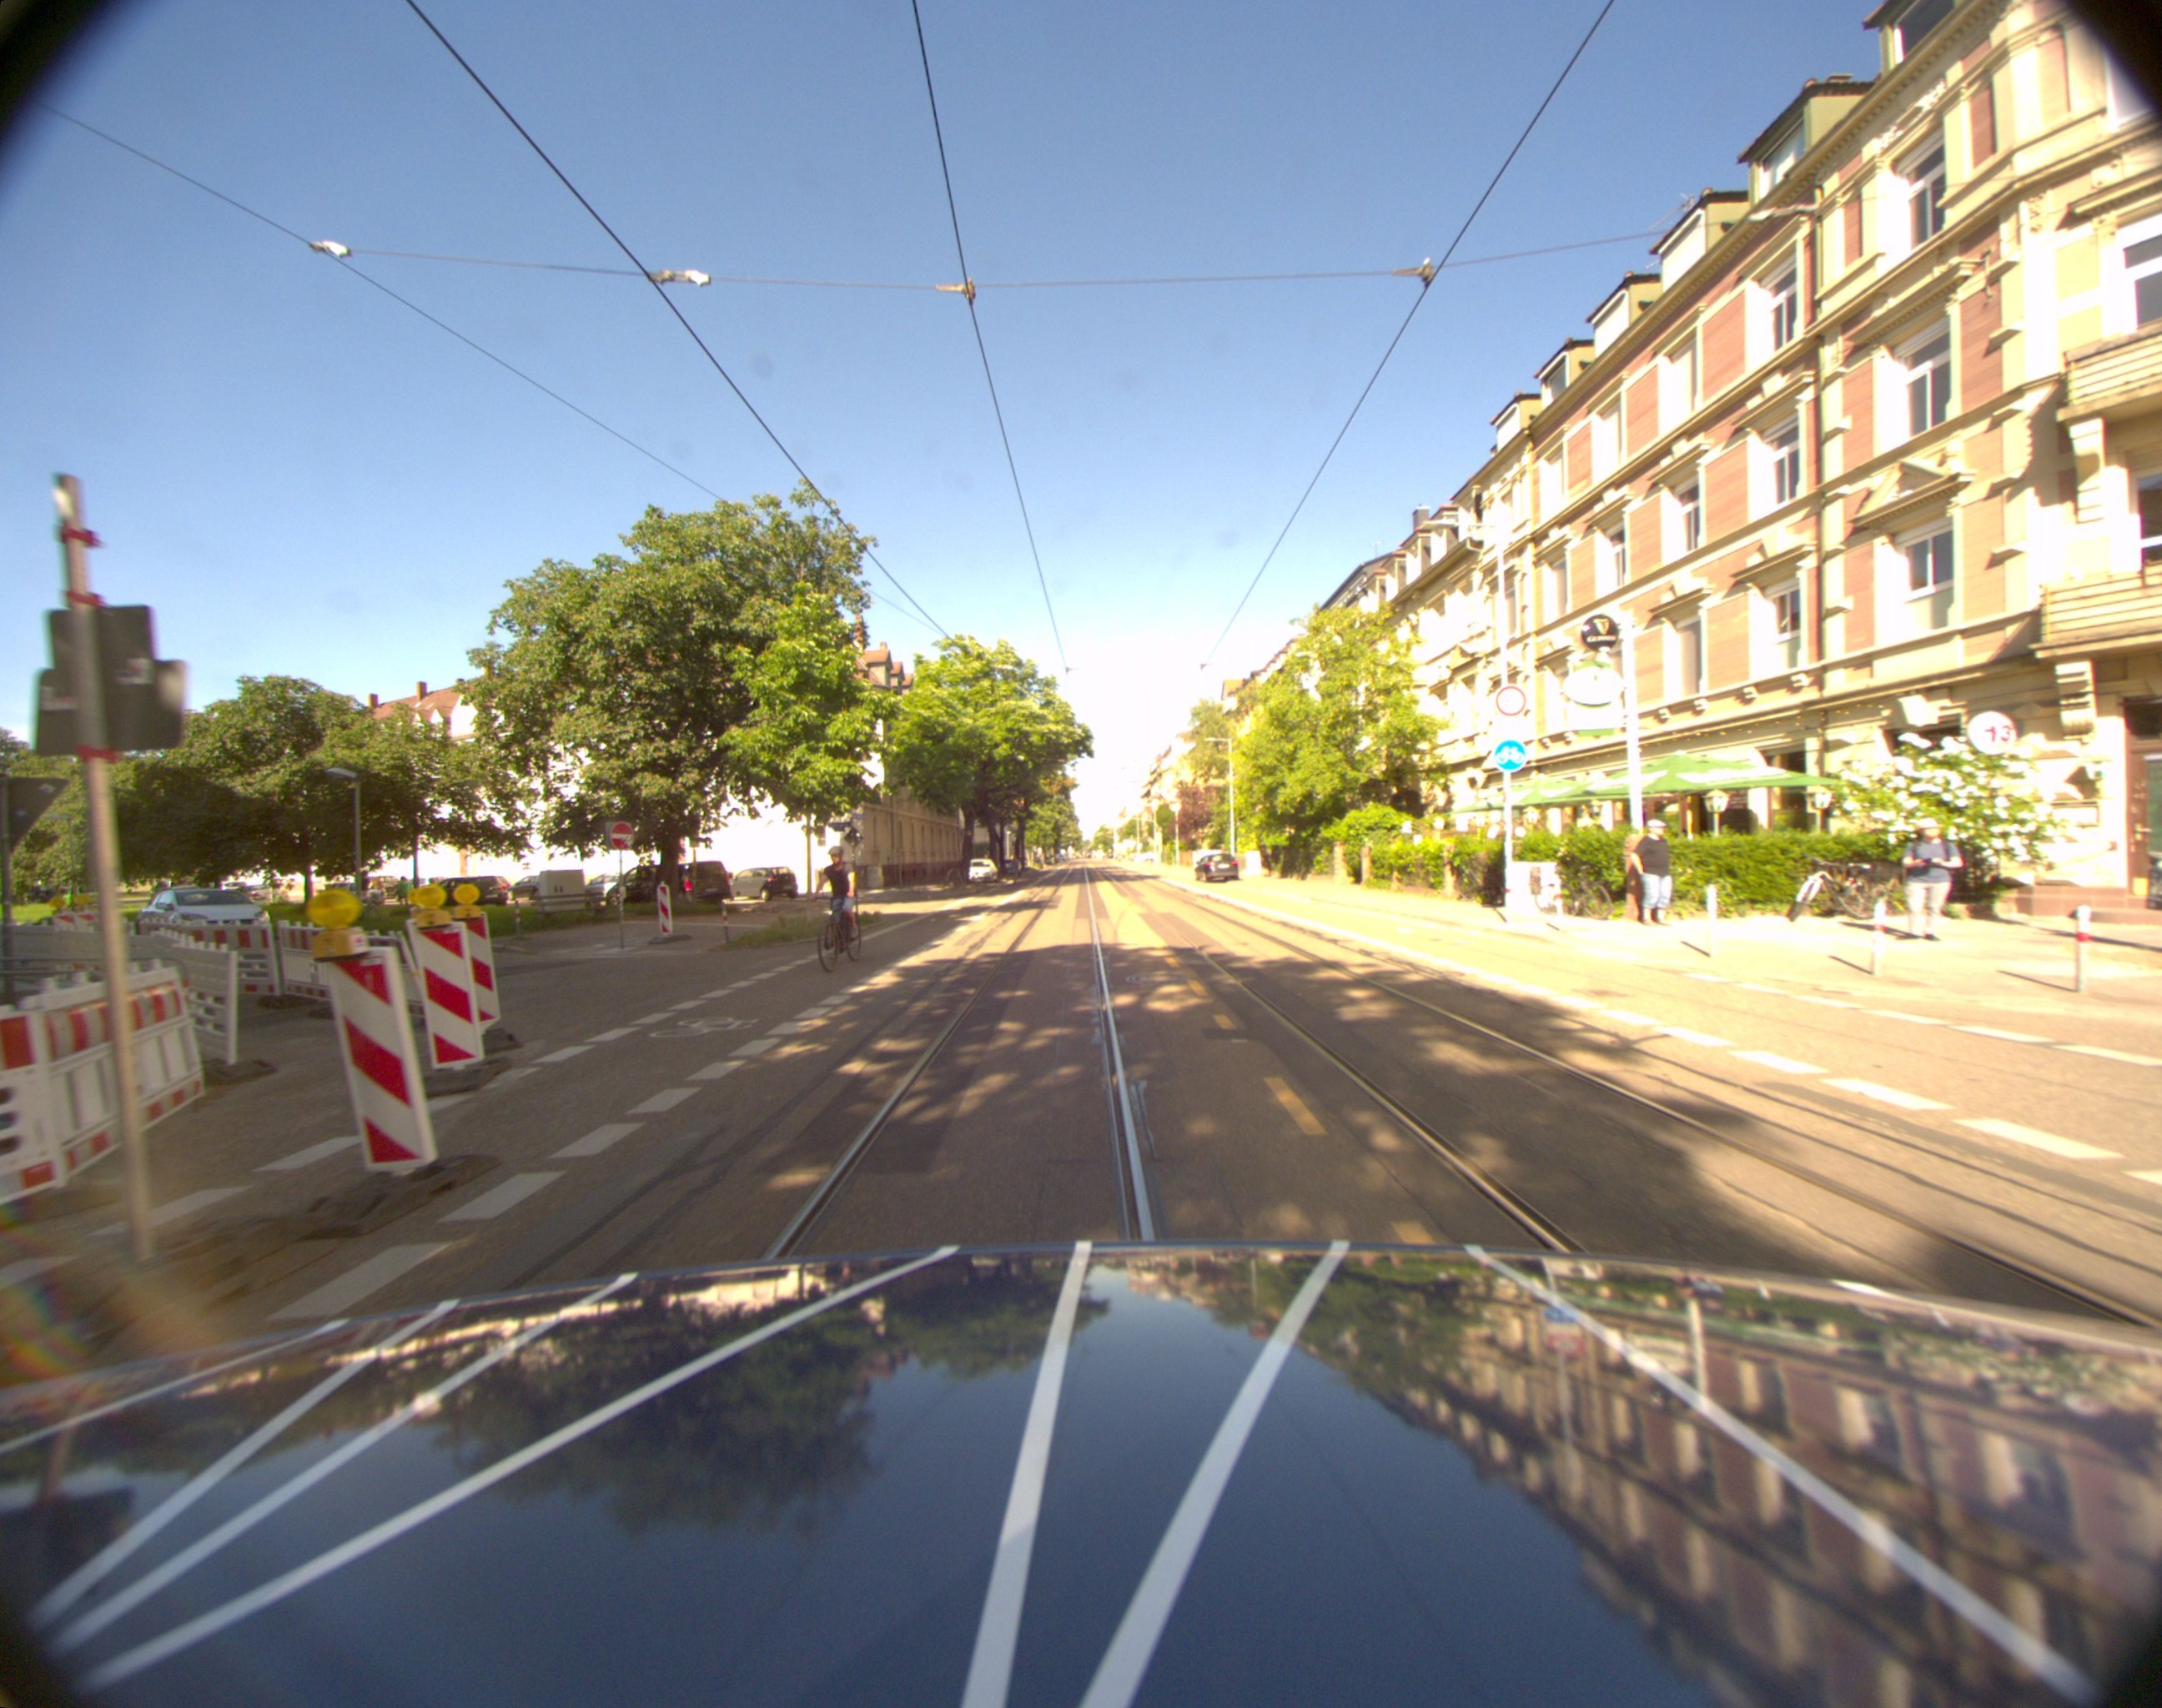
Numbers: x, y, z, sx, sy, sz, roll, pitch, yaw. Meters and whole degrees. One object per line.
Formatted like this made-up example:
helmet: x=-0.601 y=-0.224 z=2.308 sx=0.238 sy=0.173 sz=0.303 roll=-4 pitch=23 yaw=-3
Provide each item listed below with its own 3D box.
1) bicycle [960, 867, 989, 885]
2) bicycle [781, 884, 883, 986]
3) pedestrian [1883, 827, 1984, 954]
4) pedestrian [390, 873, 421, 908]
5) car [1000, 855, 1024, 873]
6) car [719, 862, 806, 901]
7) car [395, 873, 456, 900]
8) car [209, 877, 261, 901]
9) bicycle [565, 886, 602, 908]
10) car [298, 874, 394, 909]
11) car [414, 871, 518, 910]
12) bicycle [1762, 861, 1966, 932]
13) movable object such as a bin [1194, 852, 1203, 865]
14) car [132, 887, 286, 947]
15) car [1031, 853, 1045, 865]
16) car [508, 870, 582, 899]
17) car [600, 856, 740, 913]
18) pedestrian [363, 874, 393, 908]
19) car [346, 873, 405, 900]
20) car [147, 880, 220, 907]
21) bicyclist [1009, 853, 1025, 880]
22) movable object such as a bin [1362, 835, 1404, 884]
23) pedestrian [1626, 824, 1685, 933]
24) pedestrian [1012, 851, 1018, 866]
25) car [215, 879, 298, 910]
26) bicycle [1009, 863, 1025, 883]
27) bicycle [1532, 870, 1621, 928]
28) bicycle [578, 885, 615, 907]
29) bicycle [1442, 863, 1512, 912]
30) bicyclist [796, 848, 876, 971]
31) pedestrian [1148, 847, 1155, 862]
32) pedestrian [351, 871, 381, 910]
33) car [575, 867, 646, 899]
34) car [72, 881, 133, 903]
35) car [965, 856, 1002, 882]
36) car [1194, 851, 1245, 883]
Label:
bicycle: x=-5.806 y=1.197 z=41.450 sx=1.570 sy=0.974 sz=0.640 roll=-1 pitch=1 yaw=-8
bicycle: x=-3.627 y=1.135 z=11.285 sx=0.763 sy=1.235 sz=2.096 roll=-3 pitch=0 yaw=0
pedestrian: x=11.579 y=0.462 z=10.354 sx=0.705 sy=1.645 sz=0.834 roll=0 pitch=2 yaw=32
pedestrian: x=-31.229 y=1.680 z=35.149 sx=0.572 sy=1.559 sz=0.844 roll=-2 pitch=2 yaw=24
car: x=-5.858 y=0.801 z=64.961 sx=1.824 sy=1.475 sz=4.748 roll=-1 pitch=0 yaw=-2
car: x=-14.317 y=1.226 z=34.193 sx=3.431 sy=1.530 sz=1.724 roll=-2 pitch=4 yaw=28
car: x=-41.113 y=2.035 z=47.665 sx=3.627 sy=1.491 sz=1.642 roll=-2 pitch=2 yaw=28
car: x=-69.273 y=2.840 z=62.191 sx=4.032 sy=1.710 sz=1.785 roll=-2 pitch=4 yaw=28
bicycle: x=-17.750 y=1.538 z=27.103 sx=1.379 sy=0.754 sz=0.420 roll=-2 pitch=1 yaw=25
car: x=-39.249 y=1.981 z=40.555 sx=5.054 sy=1.621 sz=2.003 roll=-2 pitch=3 yaw=26
car: x=-28.836 y=1.708 z=35.632 sx=4.608 sy=1.601 sz=1.938 roll=-2 pitch=3 yaw=26
bicycle: x=12.755 y=0.686 z=12.462 sx=2.244 sy=1.038 sz=0.876 roll=-2 pitch=2 yaw=10
movable object such as a bin: x=10.386 y=0.390 z=67.118 sx=0.590 sy=1.169 sz=0.665 roll=-2 pitch=1 yaw=-4
car: x=-23.846 y=1.665 z=20.770 sx=3.962 sy=1.477 sz=1.791 roll=-1 pitch=-2 yaw=26
car: x=-5.572 y=0.661 z=99.622 sx=1.761 sy=1.458 sz=4.613 roll=-1 pitch=0 yaw=-2
car: x=-29.557 y=1.684 z=41.859 sx=3.952 sy=1.408 sz=1.642 roll=-2 pitch=2 yaw=28
car: x=-15.562 y=1.141 z=28.742 sx=5.054 sy=1.880 sz=2.003 roll=-2 pitch=3 yaw=26
pedestrian: x=-33.444 y=1.754 z=36.150 sx=0.572 sy=1.559 sz=0.844 roll=-2 pitch=2 yaw=24
car: x=-47.412 y=2.160 z=51.048 sx=3.847 sy=1.664 sz=1.642 roll=-2 pitch=2 yaw=28
car: x=-61.805 y=2.729 z=52.309 sx=5.054 sy=1.621 sz=2.003 roll=-2 pitch=3 yaw=26
bicyclist: x=-3.674 y=0.706 z=43.820 sx=0.776 sy=1.505 sz=1.229 roll=-2 pitch=1 yaw=-2
movable object such as a bin: x=11.403 y=0.189 z=28.729 sx=1.287 sy=1.721 sz=1.043 roll=-4 pitch=1 yaw=16
pedestrian: x=9.657 y=0.403 z=12.786 sx=0.558 sy=1.771 sz=0.538 roll=-2 pitch=1 yaw=-3
pedestrian: x=-8.919 y=0.560 z=102.443 sx=0.743 sy=2.002 sz=0.687 roll=-2 pitch=1 yaw=-8
car: x=-49.905 y=2.428 z=45.978 sx=5.054 sy=1.621 sz=2.003 roll=-2 pitch=3 yaw=26
bicycle: x=-3.660 y=1.075 z=43.820 sx=0.776 sy=1.080 sz=2.058 roll=-2 pitch=0 yaw=-2
bicycle: x=9.312 y=0.816 z=14.357 sx=0.528 sy=0.975 sz=1.777 roll=-2 pitch=0 yaw=1
bicycle: x=-17.521 y=1.515 z=27.485 sx=1.379 sy=0.773 sz=0.420 roll=-2 pitch=1 yaw=25
bicycle: x=9.488 y=0.773 z=18.301 sx=0.515 sy=1.032 sz=2.223 roll=-2 pitch=1 yaw=1
bicyclist: x=-3.647 y=0.788 z=11.376 sx=0.763 sy=1.728 sz=1.046 roll=-3 pitch=1 yaw=0
pedestrian: x=9.277 y=0.060 z=99.564 sx=0.809 sy=1.825 sz=0.754 roll=-2 pitch=1 yaw=9
pedestrian: x=-35.081 y=1.787 z=37.286 sx=0.572 sy=1.831 sz=0.844 roll=-2 pitch=2 yaw=24
car: x=-24.249 y=1.503 z=39.134 sx=3.493 sy=1.491 sz=1.441 roll=-2 pitch=2 yaw=28
car: x=-80.141 y=3.122 z=62.197 sx=5.054 sy=1.621 sz=2.003 roll=-2 pitch=3 yaw=26
car: x=-5.937 y=0.885 z=46.664 sx=1.705 sy=1.463 sz=4.213 roll=-1 pitch=0 yaw=1
car: x=7.212 y=0.613 z=39.985 sx=1.869 sy=1.567 sz=4.588 roll=0 pitch=0 yaw=0
